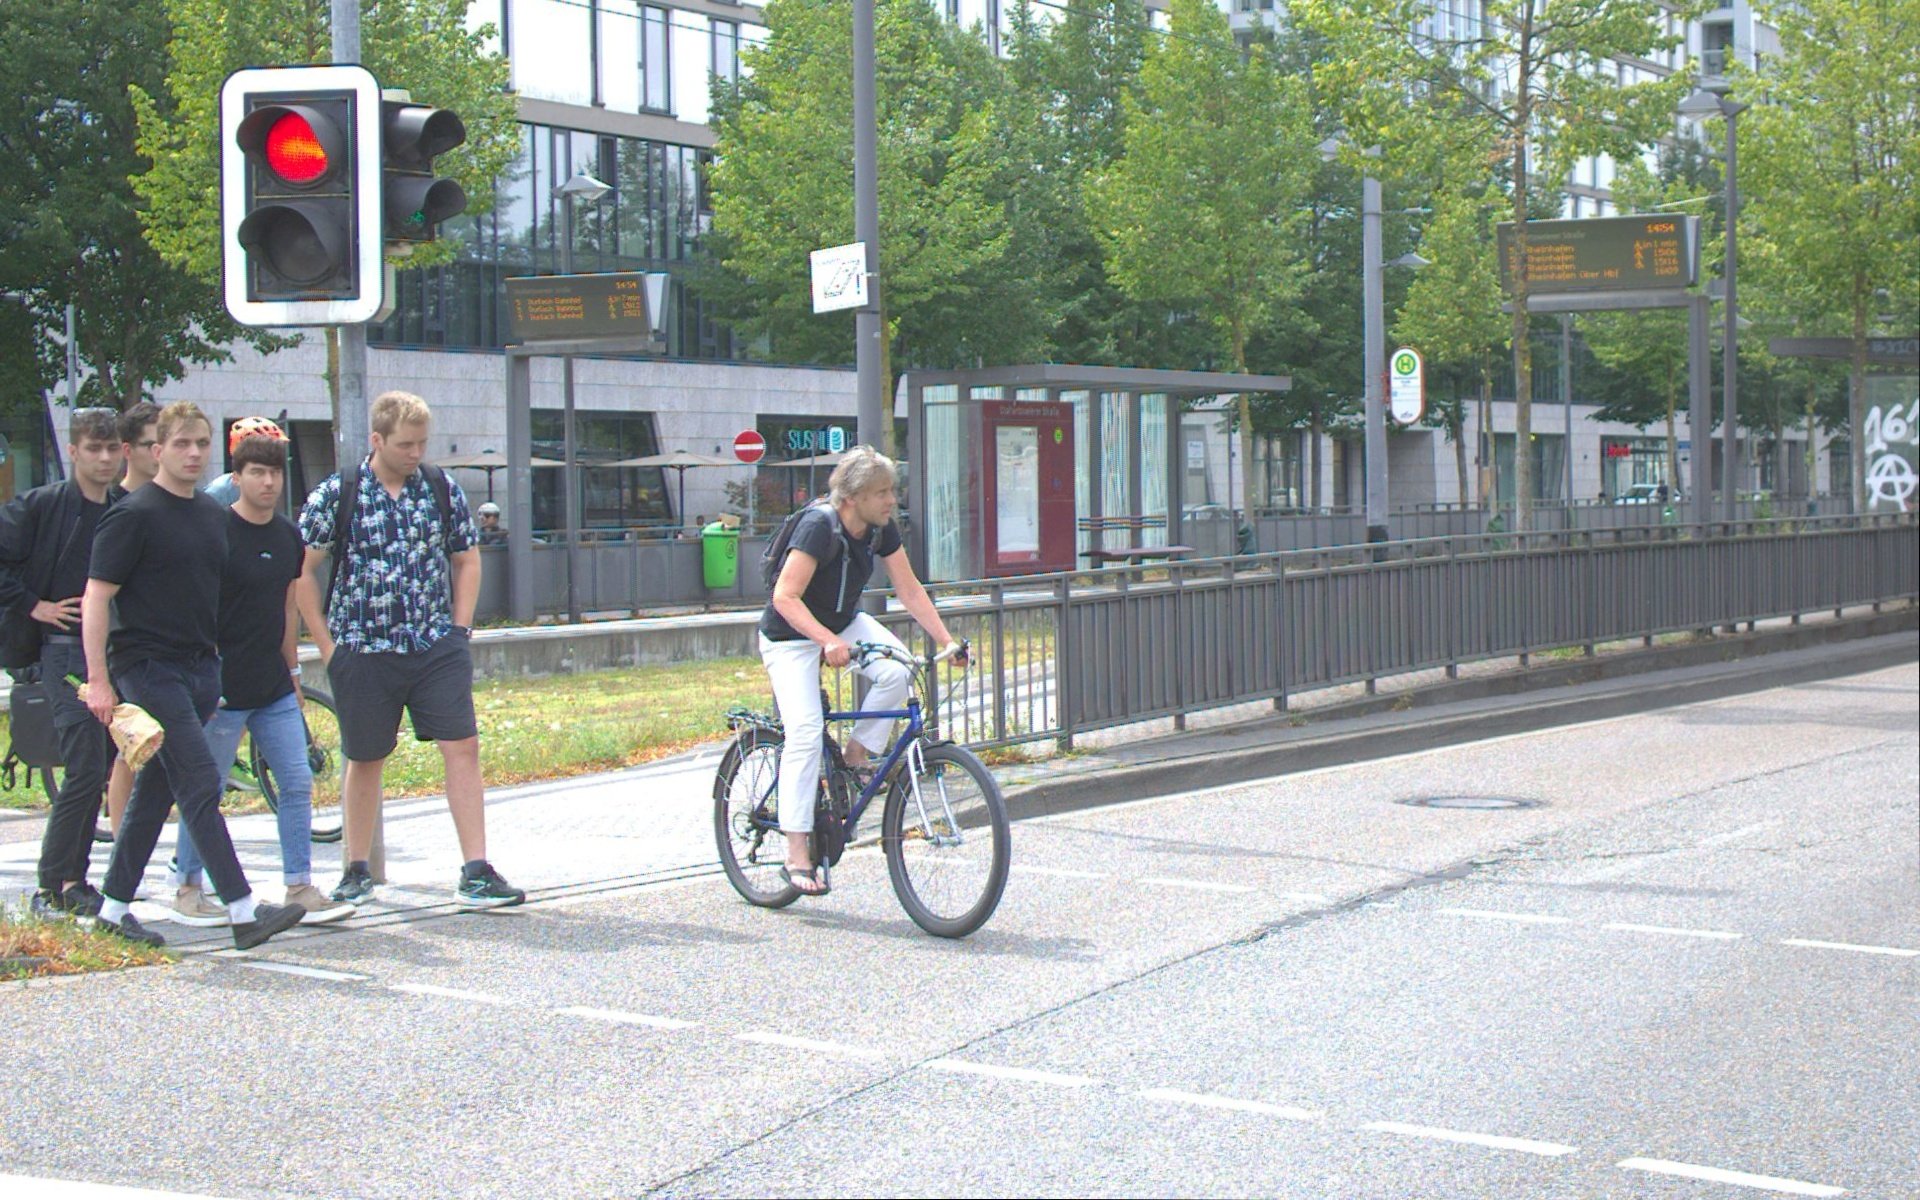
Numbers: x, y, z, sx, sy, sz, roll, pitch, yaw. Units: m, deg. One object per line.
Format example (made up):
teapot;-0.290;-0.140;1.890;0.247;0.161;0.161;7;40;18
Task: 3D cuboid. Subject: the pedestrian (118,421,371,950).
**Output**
pedestrian;-2.479;0.277;11.951;0.552;1.775;0.689;1;2;24

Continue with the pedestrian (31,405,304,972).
pedestrian;-2.569;0.267;11.176;0.552;1.775;0.689;1;2;24

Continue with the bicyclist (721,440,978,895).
bicyclist;-0.401;0.222;12.362;0.559;1.575;0.765;-1;2;-43

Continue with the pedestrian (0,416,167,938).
pedestrian;-3.213;0.251;12.074;0.552;1.775;0.632;1;2;24

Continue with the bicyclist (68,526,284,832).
bicyclist;-3.456;0.331;15.184;0.674;1.312;0.639;1;2;24

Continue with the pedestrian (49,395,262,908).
pedestrian;-2.984;0.178;12.778;0.552;1.855;0.530;1;2;24

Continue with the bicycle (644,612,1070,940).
bicycle;-0.397;0.596;12.375;0.547;1.054;1.712;-1;2;-43

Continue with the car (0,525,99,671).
car;-10.759;-0.006;34.431;1.846;1.453;3.993;1;2;31

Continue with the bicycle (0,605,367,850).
bicycle;-3.556;0.542;15.222;1.753;1.003;0.653;1;2;23

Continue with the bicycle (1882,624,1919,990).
bicycle;3.862;0.679;10.478;0.789;1.164;2.041;-2;2;-32

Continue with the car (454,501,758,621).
car;-4.488;-0.535;44.108;1.846;1.453;3.993;1;2;31

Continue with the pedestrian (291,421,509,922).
pedestrian;-2.038;0.243;12.546;0.552;1.775;0.580;1;2;24
